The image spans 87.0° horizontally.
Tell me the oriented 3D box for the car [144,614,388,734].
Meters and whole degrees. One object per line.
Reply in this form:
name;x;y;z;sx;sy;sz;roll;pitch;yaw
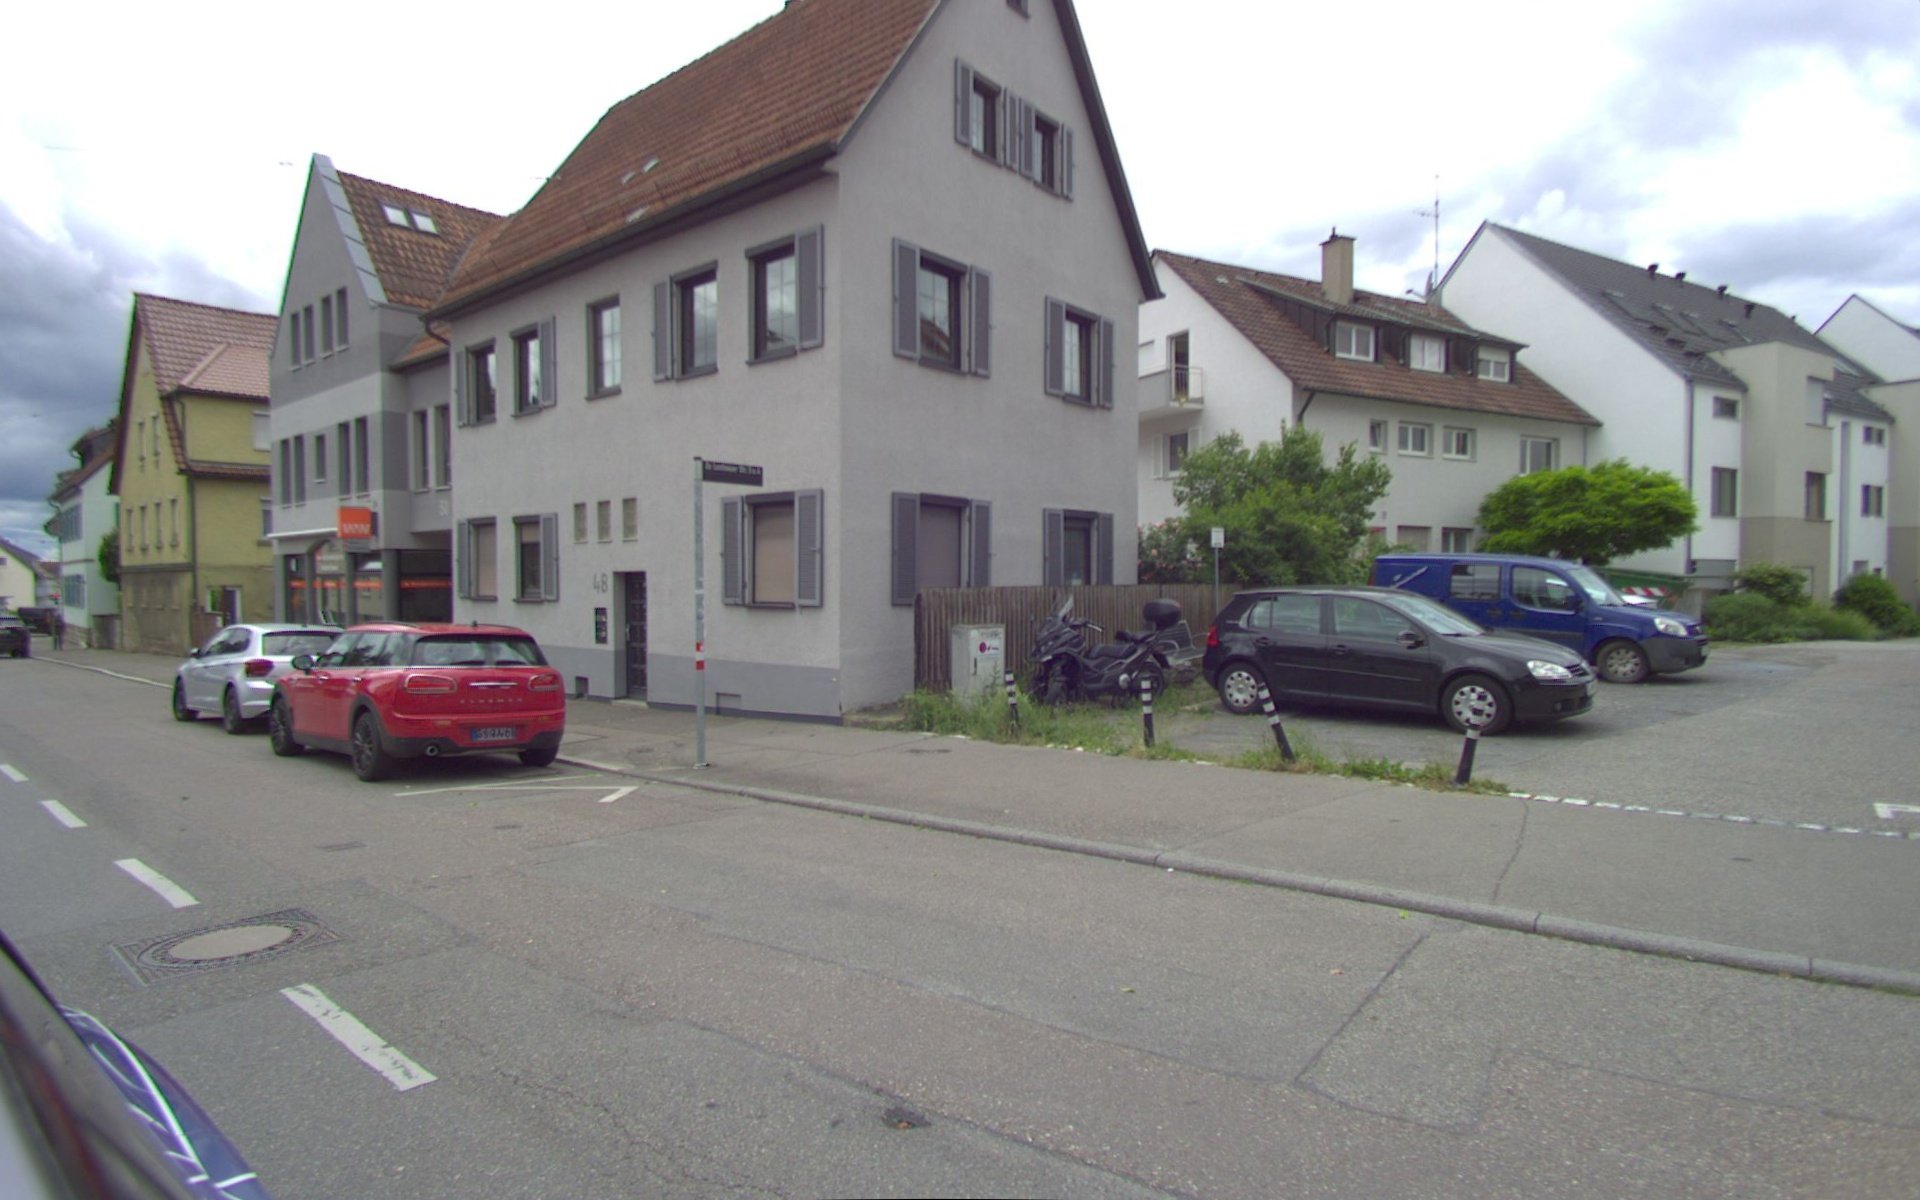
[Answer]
car;-10.089;0.976;14.592;4.348;1.485;1.759;-1;-3;40

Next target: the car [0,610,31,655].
car;-36.082;1.201;37.677;4.349;1.580;1.696;-1;-1;41

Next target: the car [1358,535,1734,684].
car;8.739;0.160;15.438;1.813;1.923;4.627;0;-1;-43

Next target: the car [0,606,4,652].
car;-41.165;1.193;41.741;4.349;1.863;2.085;-1;-1;41

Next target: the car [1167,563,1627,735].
car;4.832;0.465;11.575;4.414;1.563;1.973;-1;2;42

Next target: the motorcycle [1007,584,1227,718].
motorcycle;1.959;0.567;12.328;2.786;1.485;0.839;0;-1;-33

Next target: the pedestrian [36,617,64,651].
pedestrian;-37.750;1.403;41.993;0.551;1.386;0.821;-1;-1;42

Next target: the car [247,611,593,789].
car;-5.823;0.912;10.665;4.351;1.485;1.839;-1;-3;42
